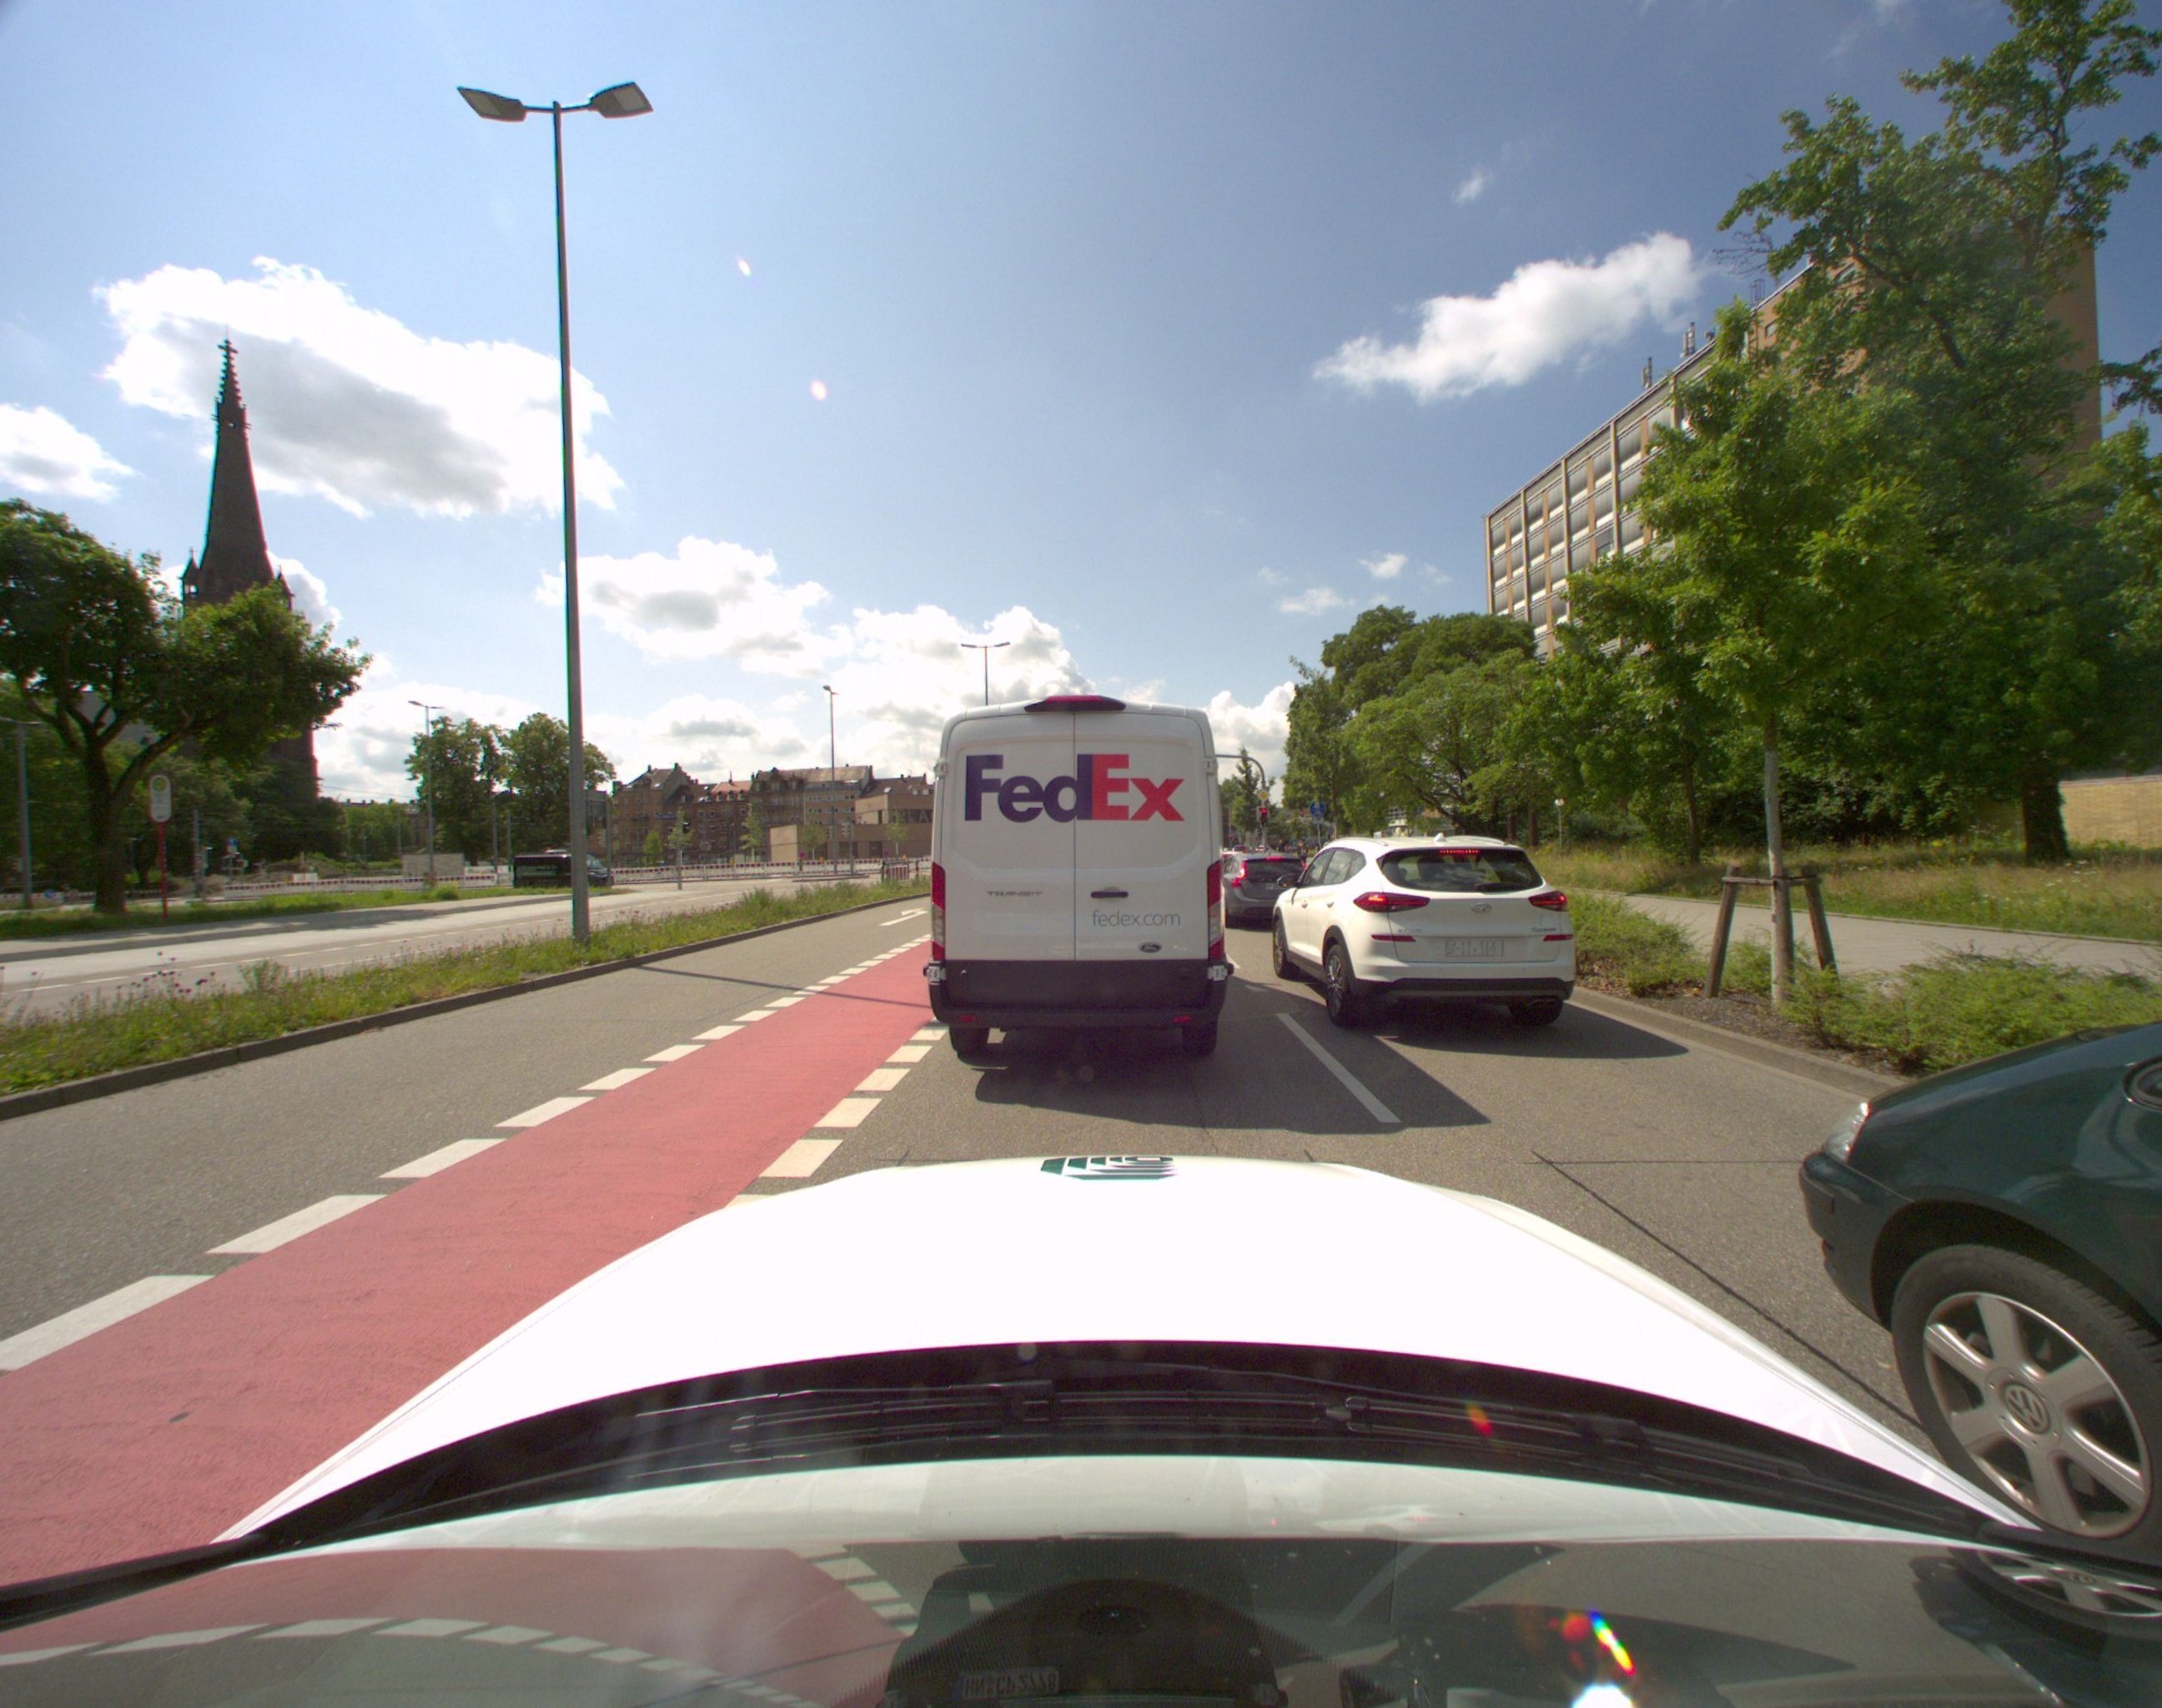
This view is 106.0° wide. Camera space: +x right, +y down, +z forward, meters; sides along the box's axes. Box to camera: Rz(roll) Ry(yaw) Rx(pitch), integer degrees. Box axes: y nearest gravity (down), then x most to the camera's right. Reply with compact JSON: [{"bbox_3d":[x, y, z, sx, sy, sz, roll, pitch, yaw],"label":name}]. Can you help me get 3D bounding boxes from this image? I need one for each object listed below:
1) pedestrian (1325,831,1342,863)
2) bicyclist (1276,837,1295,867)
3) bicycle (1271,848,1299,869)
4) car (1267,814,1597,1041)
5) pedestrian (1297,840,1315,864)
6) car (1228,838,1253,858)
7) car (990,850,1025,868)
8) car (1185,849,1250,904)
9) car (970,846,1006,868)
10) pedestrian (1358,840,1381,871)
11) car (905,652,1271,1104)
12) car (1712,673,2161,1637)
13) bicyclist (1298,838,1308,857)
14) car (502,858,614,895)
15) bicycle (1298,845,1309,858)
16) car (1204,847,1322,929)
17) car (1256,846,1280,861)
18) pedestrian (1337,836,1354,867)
[{"bbox_3d":[16.670,-0.472,53.778,0.840,2.058,0.742,-2,0,6],"label":"pedestrian"},{"bbox_3d":[13.139,-0.142,52.271,1.129,1.844,0.586,-2,1,-41],"label":"bicyclist"},{"bbox_3d":[13.104,0.302,52.205,2.082,1.290,0.597,-2,0,-41],"label":"bicycle"},{"bbox_3d":[3.126,0.549,8.208,1.790,1.687,4.004,-2,0,4],"label":"car"},{"bbox_3d":[13.351,-0.101,48.404,0.842,1.389,0.741,-2,0,1],"label":"pedestrian"},{"bbox_3d":[17.212,-0.658,87.688,2.076,2.013,4.665,-2,0,17],"label":"car"},{"bbox_3d":[-6.991,0.488,77.750,1.886,1.585,4.017,-2,0,16],"label":"car"},{"bbox_3d":[3.869,0.601,23.462,1.478,1.428,3.436,-2,0,4],"label":"car"},{"bbox_3d":[-8.994,0.294,79.207,1.978,2.014,4.017,-2,0,16],"label":"car"},{"bbox_3d":[14.759,0.056,41.671,0.842,1.539,0.835,-2,0,1],"label":"pedestrian"},{"bbox_3d":[0.038,0.131,7.706,2.134,2.652,5.703,-1,0,0],"label":"car"},{"bbox_3d":[2.818,0.541,0.316,1.806,1.734,4.389,-1,0,1],"label":"car"},{"bbox_3d":[17.867,-0.538,65.496,0.547,1.474,0.973,-2,0,6],"label":"bicyclist"},{"bbox_3d":[-29.627,1.259,46.225,4.995,1.879,1.928,-2,1,-2],"label":"car"},{"bbox_3d":[17.869,-0.208,65.470,0.543,1.030,1.930,-2,0,5],"label":"bicycle"},{"bbox_3d":[3.632,0.616,16.896,1.790,1.461,3.842,-2,0,4],"label":"car"},{"bbox_3d":[23.616,-0.055,102.720,1.975,1.794,4.397,-2,0,25],"label":"car"},{"bbox_3d":[17.574,-0.154,54.069,0.842,2.013,0.741,-2,0,1],"label":"pedestrian"}]
